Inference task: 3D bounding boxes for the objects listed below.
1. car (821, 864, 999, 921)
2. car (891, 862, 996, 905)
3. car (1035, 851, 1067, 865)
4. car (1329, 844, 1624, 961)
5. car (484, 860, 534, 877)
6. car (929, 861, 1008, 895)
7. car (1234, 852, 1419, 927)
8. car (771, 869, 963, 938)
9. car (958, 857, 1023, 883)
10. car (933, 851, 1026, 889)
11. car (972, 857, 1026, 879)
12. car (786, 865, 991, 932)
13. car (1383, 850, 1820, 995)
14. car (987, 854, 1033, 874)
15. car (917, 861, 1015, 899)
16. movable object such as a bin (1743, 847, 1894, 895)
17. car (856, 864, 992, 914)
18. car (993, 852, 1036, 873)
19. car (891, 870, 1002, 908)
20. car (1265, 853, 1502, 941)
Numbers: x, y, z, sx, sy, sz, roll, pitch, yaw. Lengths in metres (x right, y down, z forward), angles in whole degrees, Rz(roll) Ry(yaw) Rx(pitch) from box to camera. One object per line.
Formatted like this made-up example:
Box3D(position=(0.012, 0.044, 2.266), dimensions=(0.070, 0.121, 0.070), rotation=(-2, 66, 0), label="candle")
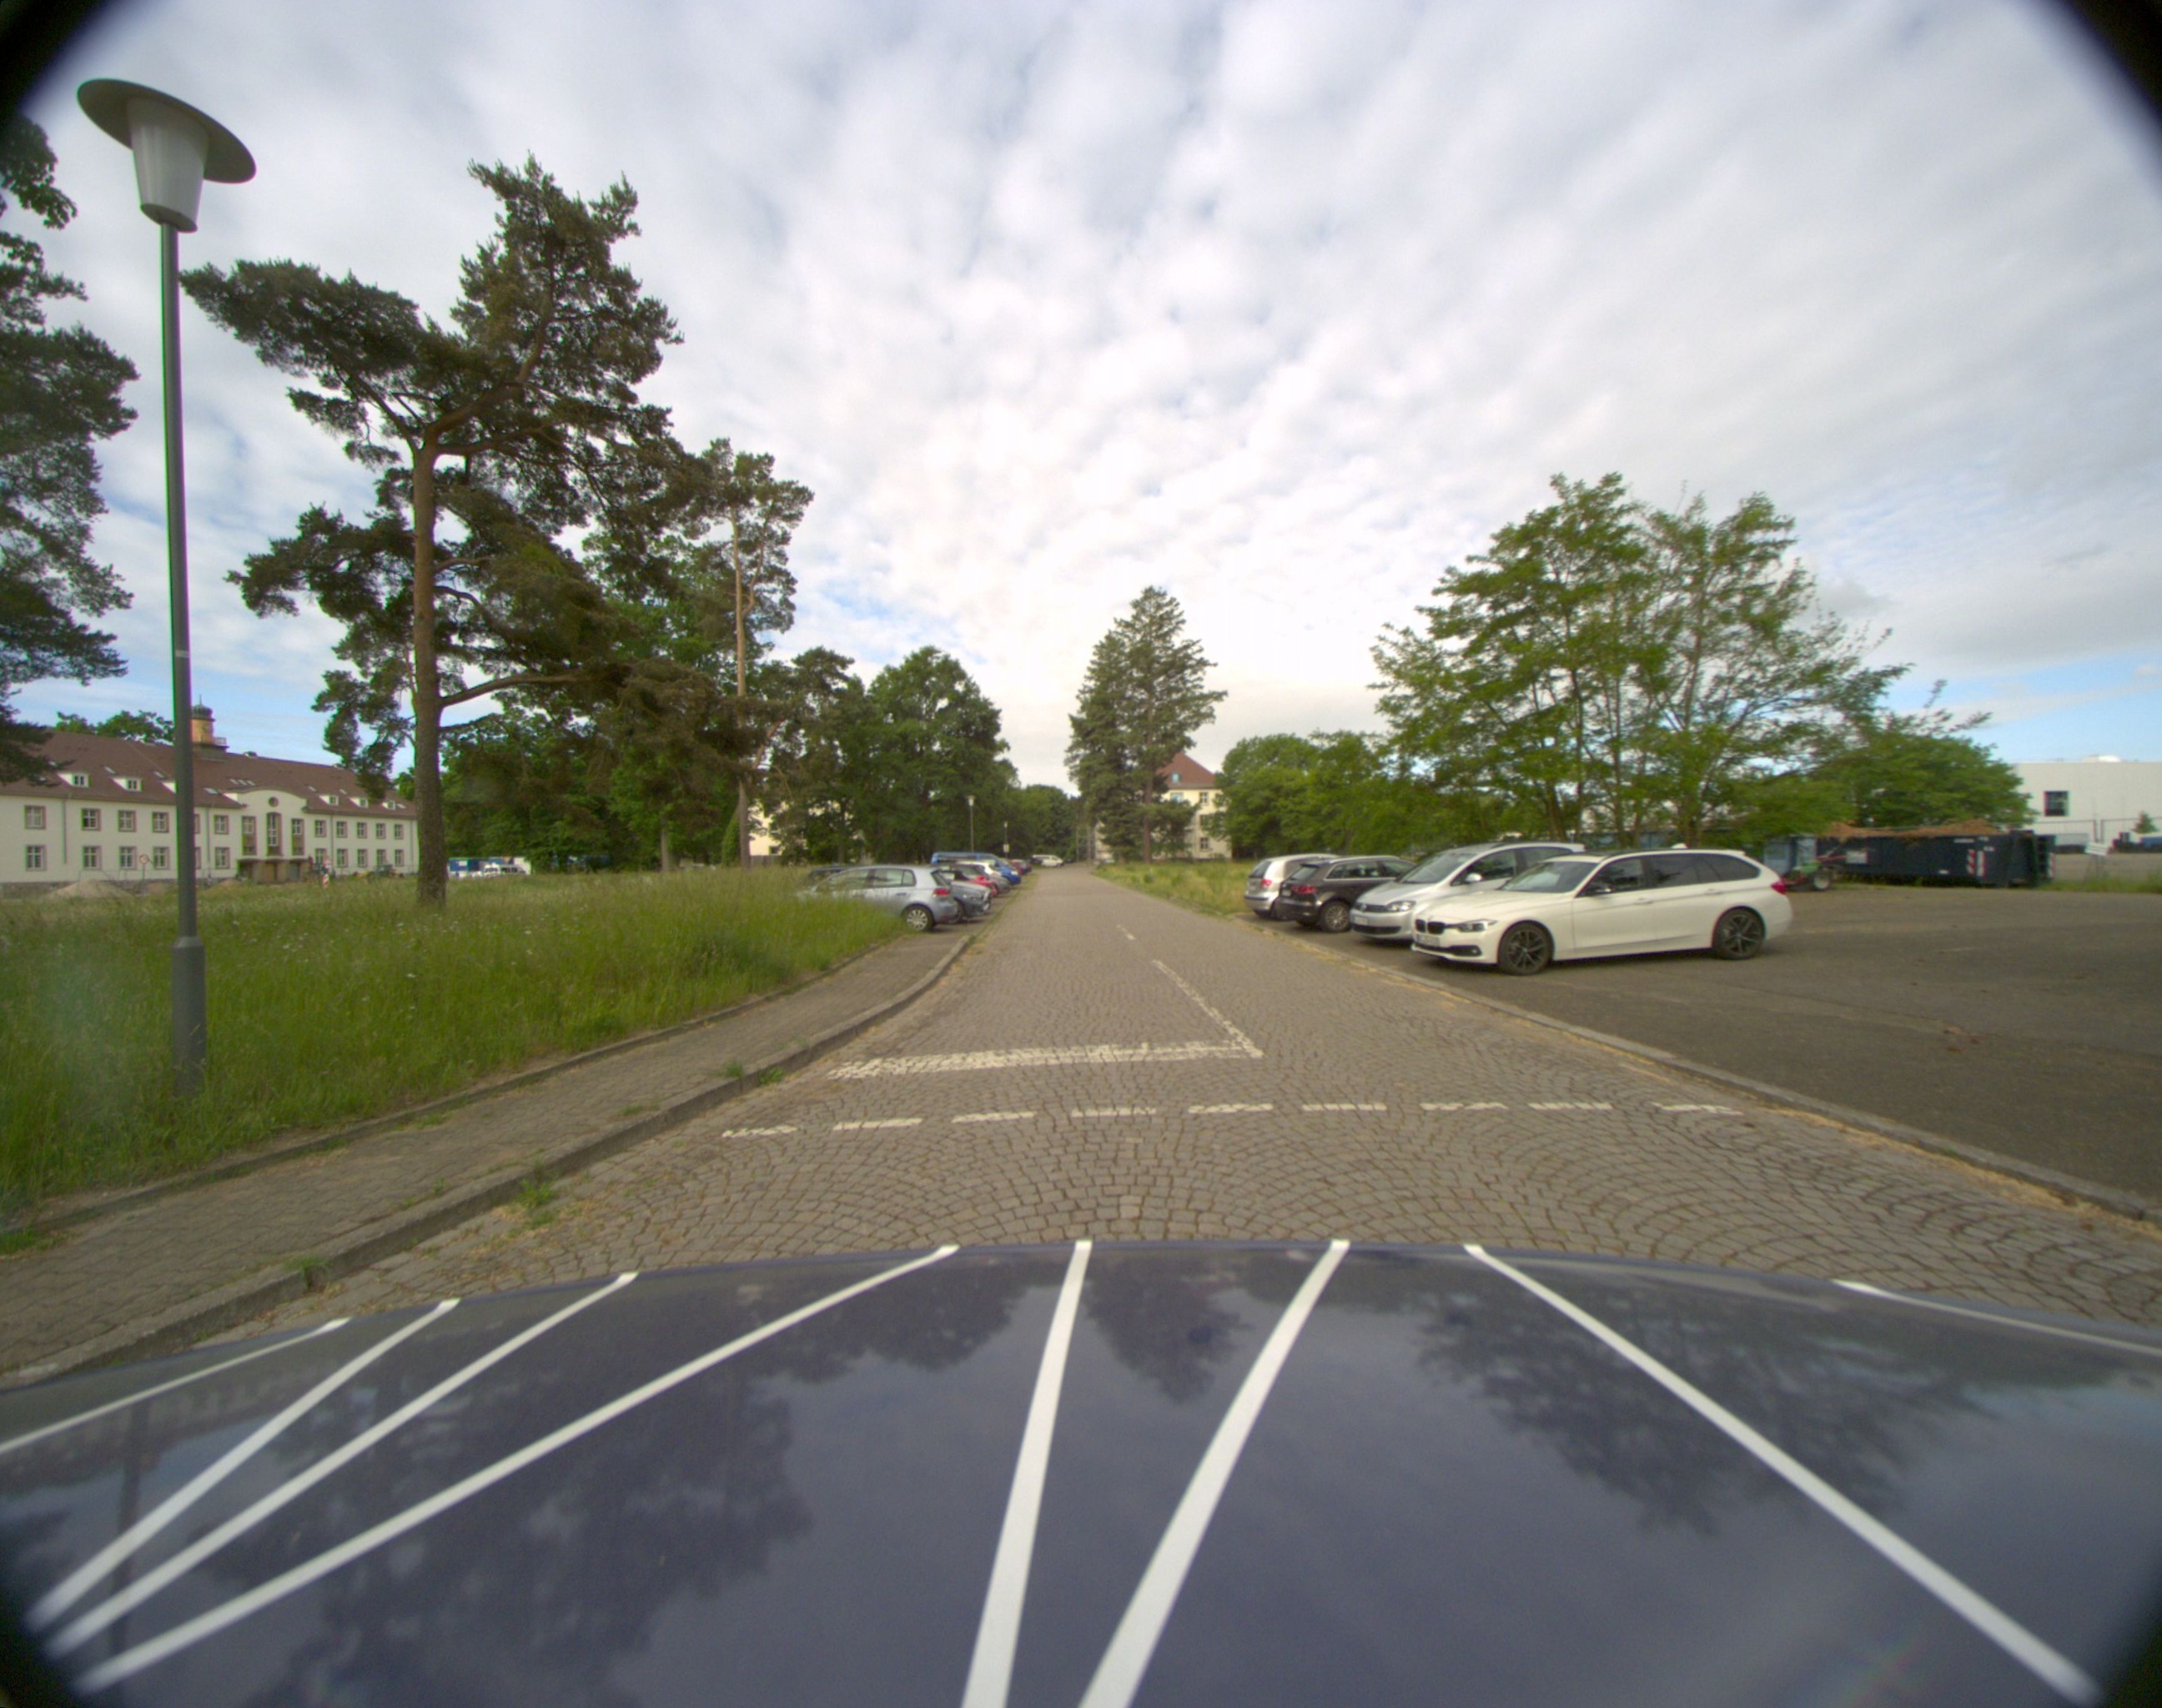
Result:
Box3D(position=(-4.850, 1.083, 22.077), dimensions=(4.770, 1.474, 1.812), rotation=(-1, 0, -2), label="car")
Box3D(position=(-5.244, 1.116, 29.303), dimensions=(3.787, 1.497, 1.798), rotation=(-1, 0, -4), label="car")
Box3D(position=(-4.874, 0.622, 123.286), dimensions=(5.031, 2.164, 2.000), rotation=(-1, 0, 0), label="car")
Box3D(position=(6.450, 0.733, 12.615), dimensions=(3.999, 1.538, 1.723), rotation=(-3, 1, -7), label="car")
Box3D(position=(-71.157, 1.767, 94.562), dimensions=(2.154, 2.002, 5.224), rotation=(-1, 0, 1), label="car")
Box3D(position=(-5.143, 1.079, 35.021), dimensions=(3.409, 1.443, 1.637), rotation=(-1, 0, -1), label="car")
Box3D(position=(5.752, 0.792, 18.037), dimensions=(3.689, 1.444, 1.807), rotation=(-4, 1, -7), label="car")
Box3D(position=(-4.554, 1.038, 16.574), dimensions=(3.774, 1.418, 1.605), rotation=(0, 0, -3), label="car")
Box3D(position=(-5.826, 1.019, 49.368), dimensions=(3.998, 1.601, 2.000), rotation=(-1, 0, -2), label="car")
Box3D(position=(-5.324, 0.837, 40.440), dimensions=(4.750, 1.928, 1.999), rotation=(0, 0, -2), label="car")
Box3D(position=(-6.409, 1.092, 59.683), dimensions=(3.998, 1.521, 2.000), rotation=(-2, 0, -2), label="car")
Box3D(position=(-4.720, 1.075, 19.211), dimensions=(4.771, 1.474, 1.761), rotation=(-1, 0, -5), label="car")
Box3D(position=(6.693, 0.804, 10.047), dimensions=(4.661, 1.435, 1.801), rotation=(-3, 1, -6), label="car")
Box3D(position=(-6.533, 0.946, 69.932), dimensions=(4.008, 1.752, 2.000), rotation=(-1, 0, -1), label="car")
Box3D(position=(-4.815, 1.078, 32.208), dimensions=(3.849, 1.448, 1.820), rotation=(-1, 0, 0), label="car")
Box3D(position=(18.992, 0.432, 19.645), dimensions=(2.397, 1.154, 1.500), rotation=(-1, 0, 3), label="movable object such as a bin")
Box3D(position=(-4.941, 1.080, 24.337), dimensions=(3.972, 1.443, 1.799), rotation=(-1, 0, -2), label="car")
Box3D(position=(-6.443, 0.841, 74.334), dimensions=(3.997, 2.002, 2.000), rotation=(-1, 0, -1), label="car")
Box3D(position=(-4.666, 1.200, 26.667), dimensions=(3.600, 1.200, 1.494), rotation=(-1, 0, -1), label="car")
Box3D(position=(5.972, 0.803, 15.294), dimensions=(3.998, 1.419, 1.750), rotation=(-4, 1, -3), label="car")
